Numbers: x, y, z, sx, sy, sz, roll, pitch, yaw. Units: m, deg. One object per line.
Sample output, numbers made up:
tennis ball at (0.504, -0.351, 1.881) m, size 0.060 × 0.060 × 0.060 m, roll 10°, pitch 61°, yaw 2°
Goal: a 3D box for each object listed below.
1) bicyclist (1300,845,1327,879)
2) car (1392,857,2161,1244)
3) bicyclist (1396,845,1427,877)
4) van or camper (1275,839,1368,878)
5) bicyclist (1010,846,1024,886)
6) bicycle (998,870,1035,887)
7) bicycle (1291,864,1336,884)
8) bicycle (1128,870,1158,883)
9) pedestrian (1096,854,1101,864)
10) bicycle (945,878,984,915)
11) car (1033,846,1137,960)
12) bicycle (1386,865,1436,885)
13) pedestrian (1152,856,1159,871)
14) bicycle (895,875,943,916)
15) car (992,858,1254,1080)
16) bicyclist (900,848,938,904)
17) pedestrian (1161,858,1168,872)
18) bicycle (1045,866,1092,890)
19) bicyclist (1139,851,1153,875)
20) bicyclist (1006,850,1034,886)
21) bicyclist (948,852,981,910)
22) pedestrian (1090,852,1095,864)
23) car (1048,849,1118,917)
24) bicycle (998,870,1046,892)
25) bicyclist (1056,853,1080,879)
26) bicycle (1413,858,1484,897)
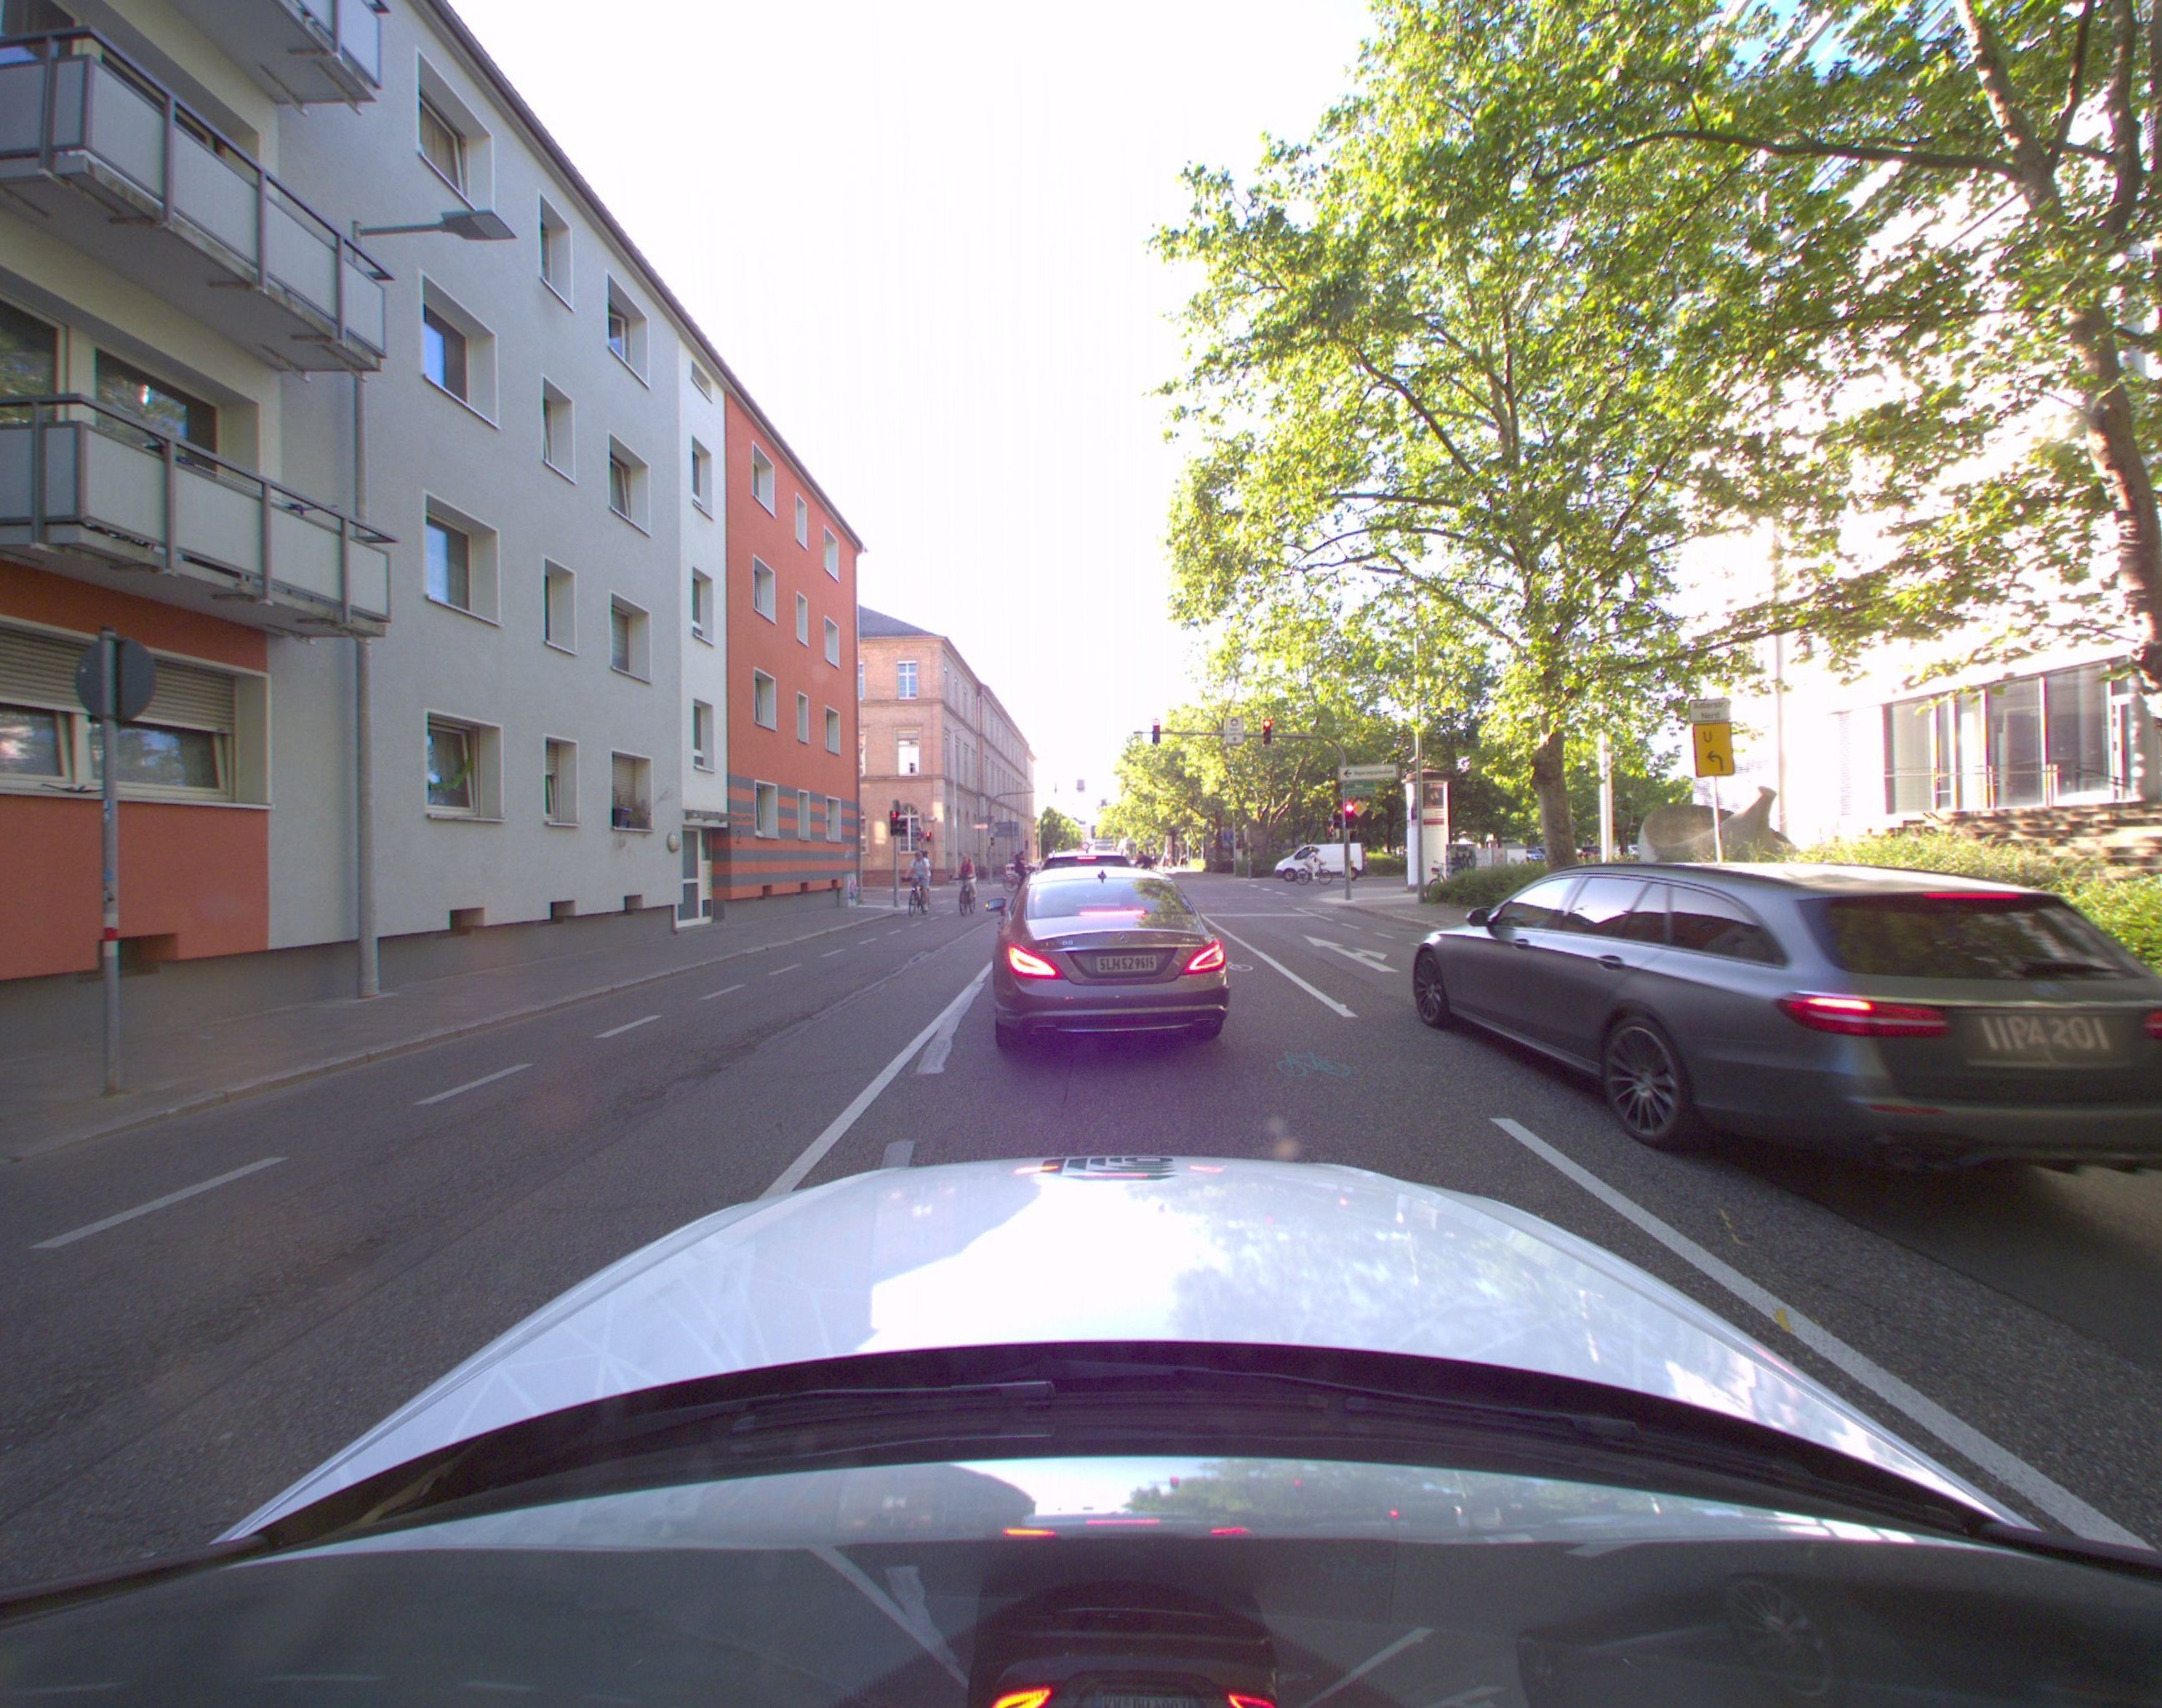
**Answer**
bicyclist at (10.719, 0.363, 37.539) m, size 1.069 × 1.519 × 0.718 m, roll -1°, pitch 0°, yaw 6°
car at (3.857, 0.755, 5.444) m, size 1.906 × 1.464 × 4.671 m, roll 0°, pitch 0°, yaw 2°
bicyclist at (14.657, 0.305, 36.089) m, size 1.098 × 1.403 × 0.658 m, roll -1°, pitch 0°, yaw 4°
van or camper at (12.658, 0.243, 42.916) m, size 4.544 × 1.941 × 2.009 m, roll -1°, pitch 0°, yaw 16°
bicyclist at (-3.276, 0.589, 41.516) m, size 0.651 × 2.013 × 0.439 m, roll -1°, pitch 0°, yaw -6°
bicycle at (-3.281, 1.247, 41.511) m, size 1.889 × 0.837 × 0.457 m, roll -1°, pitch 0°, yaw -6°
bicycle at (10.688, 0.935, 37.534) m, size 1.884 × 0.882 × 0.726 m, roll -1°, pitch 0°, yaw 5°
bicycle at (3.275, 1.188, 42.988) m, size 1.579 × 0.635 × 0.496 m, roll -1°, pitch 0°, yaw 5°
pedestrian at (2.704, 0.802, 128.017) m, size 0.799 × 1.576 × 0.845 m, roll -1°, pitch 0°, yaw 1°
bicycle at (-3.262, 1.188, 22.978) m, size 0.690 × 0.929 × 1.866 m, roll -1°, pitch 0°, yaw 5°
car at (0.056, 0.710, 13.813) m, size 1.513 × 1.647 × 3.879 m, roll -1°, pitch 0°, yaw 0°
bicycle at (14.615, 0.923, 36.086) m, size 1.965 × 0.836 × 0.677 m, roll -1°, pitch 0°, yaw 5°
pedestrian at (7.574, 0.913, 82.303) m, size 0.646 × 1.503 × 0.637 m, roll -1°, pitch 0°, yaw 1°
bicycle at (-4.617, 1.165, 23.329) m, size 0.859 × 1.079 × 1.838 m, roll -1°, pitch 0°, yaw 4°
car at (0.111, 0.793, 7.776) m, size 1.801 × 1.456 × 4.342 m, roll -1°, pitch 0°, yaw -5°
bicyclist at (-4.632, 0.609, 23.321) m, size 0.838 × 1.555 × 0.840 m, roll -1°, pitch 0°, yaw 4°
pedestrian at (8.350, 1.094, 81.841) m, size 0.646 × 1.433 × 0.659 m, roll -1°, pitch 0°, yaw 1°
bicycle at (-0.546, 1.052, 35.907) m, size 1.971 × 1.027 × 0.652 m, roll -1°, pitch 0°, yaw 4°
bicyclist at (3.462, 0.462, 43.085) m, size 0.700 × 1.260 × 0.458 m, roll -1°, pitch 0°, yaw 6°
bicyclist at (-2.611, 0.584, 34.831) m, size 1.113 × 1.490 × 0.712 m, roll -1°, pitch 0°, yaw 1°
bicyclist at (-3.279, 0.749, 22.995) m, size 0.682 × 1.578 × 0.983 m, roll -1°, pitch 0°, yaw 4°
pedestrian at (1.877, 0.661, 134.280) m, size 0.718 × 1.902 × 0.704 m, roll -1°, pitch 0°, yaw 1°
car at (0.122, 0.767, 23.379) m, size 1.813 × 1.762 × 4.002 m, roll -1°, pitch 0°, yaw 2°
bicycle at (-2.525, 1.150, 34.834) m, size 1.979 × 0.903 × 0.734 m, roll -1°, pitch 0°, yaw 1°
bicyclist at (-0.578, 0.530, 35.904) m, size 0.987 × 1.154 × 0.621 m, roll -1°, pitch 0°, yaw 4°
bicycle at (10.612, 0.675, 23.542) m, size 1.796 × 1.097 × 0.510 m, roll -1°, pitch 0°, yaw 4°
